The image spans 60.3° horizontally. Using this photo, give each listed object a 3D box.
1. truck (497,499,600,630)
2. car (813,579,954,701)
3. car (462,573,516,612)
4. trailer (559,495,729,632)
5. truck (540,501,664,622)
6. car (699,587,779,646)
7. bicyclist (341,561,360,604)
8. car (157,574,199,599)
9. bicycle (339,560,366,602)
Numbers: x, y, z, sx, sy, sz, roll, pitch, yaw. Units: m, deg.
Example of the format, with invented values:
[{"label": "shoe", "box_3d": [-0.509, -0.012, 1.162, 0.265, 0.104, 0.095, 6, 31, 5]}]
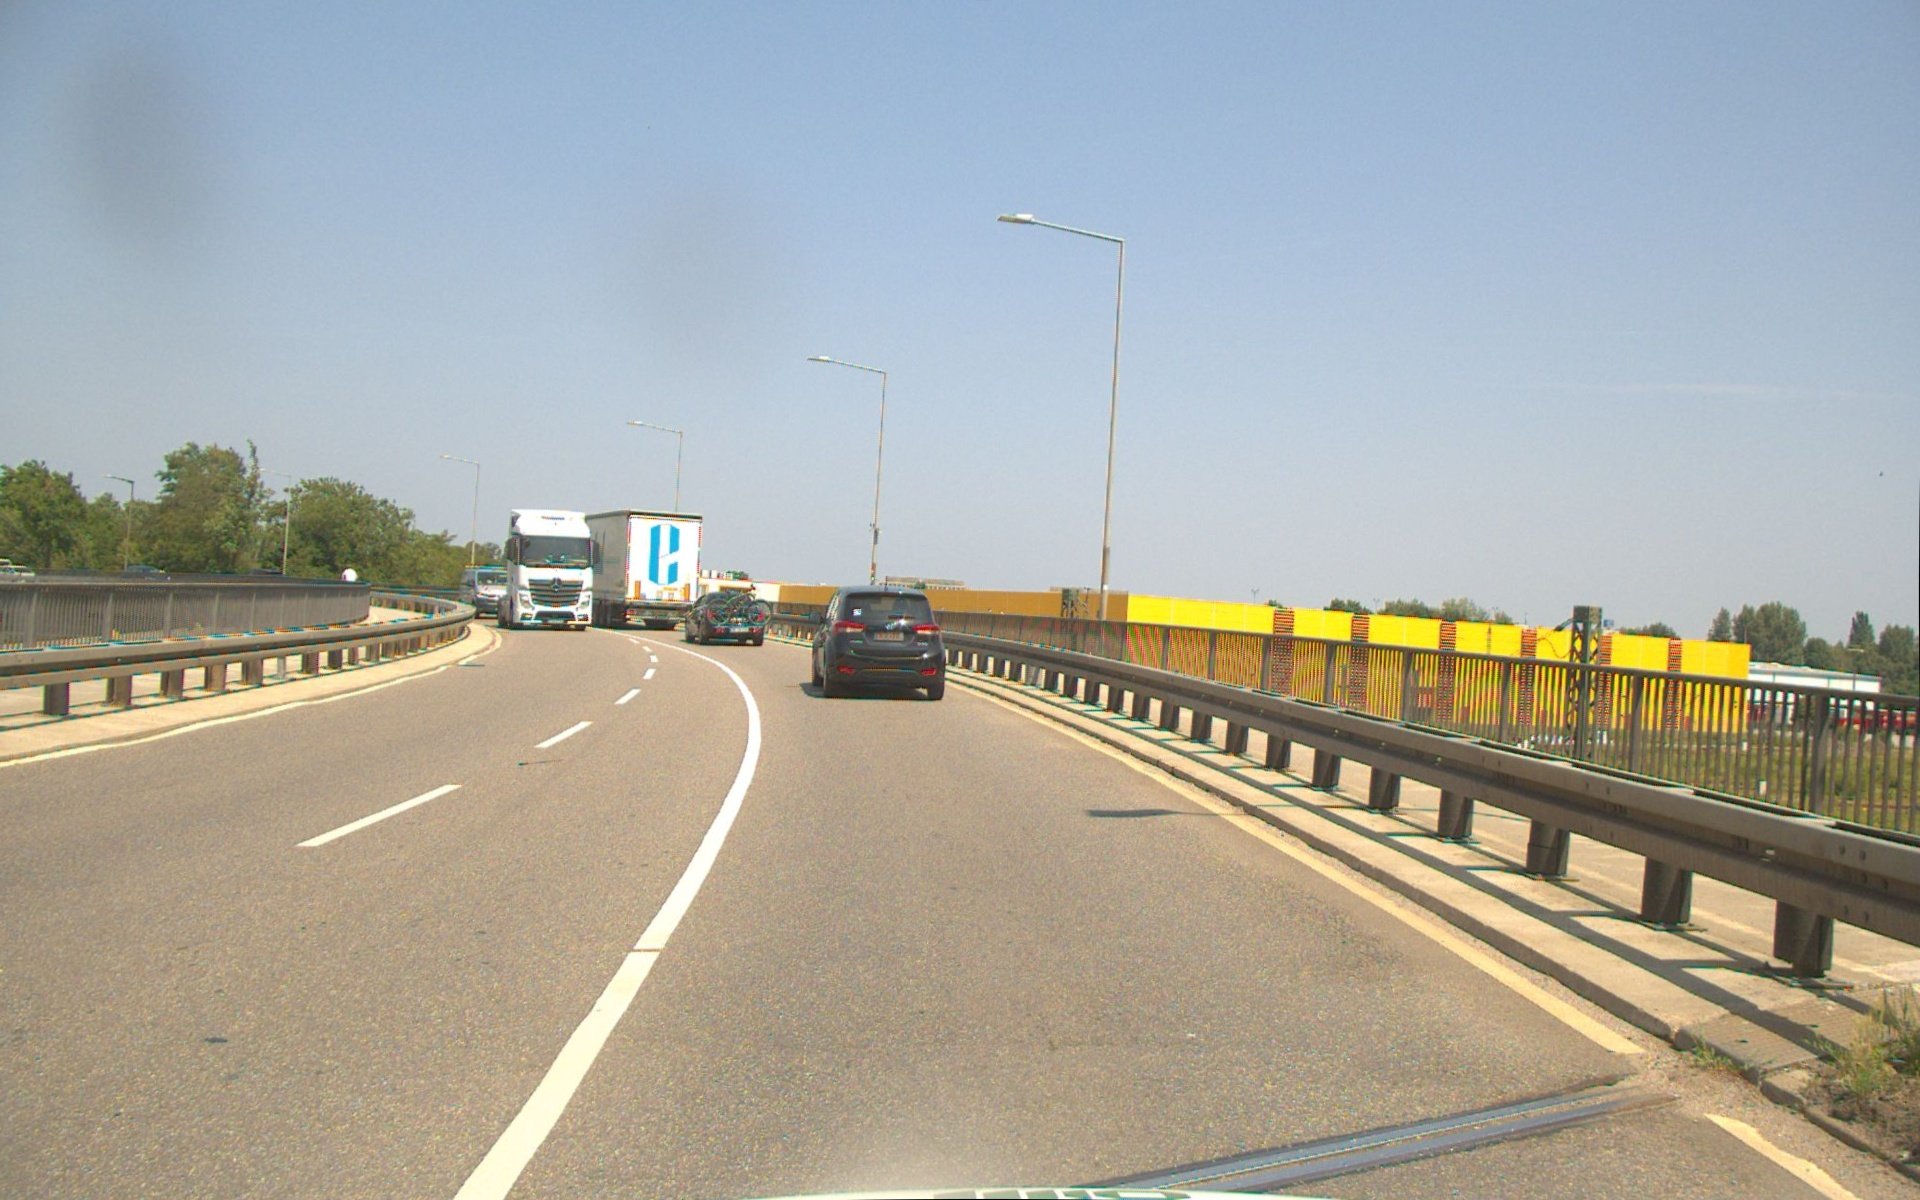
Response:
[{"label": "truck", "box_3d": [-13.872, -1.175, 55.479, 2.665, 4.061, 6.151, 2, 0, -19]}, {"label": "car", "box_3d": [-1.202, 0.535, 24.712, 1.884, 1.601, 3.888, 2, 0, -5]}, {"label": "car", "box_3d": [-18.786, -0.320, 65.894, 1.538, 1.410, 3.589, 2, 0, -24]}, {"label": "trailer", "box_3d": [-11.903, -1.333, 61.058, 3.523, 4.460, 11.355, 2, 0, -24]}, {"label": "truck", "box_3d": [-14.558, -1.544, 66.847, 3.526, 4.518, 6.467, 2, 0, -24]}, {"label": "car", "box_3d": [-5.983, 0.413, 45.134, 1.973, 1.454, 3.772, 2, 0, -6]}, {"label": "bicyclist", "box_3d": [-28.085, -0.807, 76.199, 0.618, 1.919, 0.704, 2, 0, -33]}, {"label": "car", "box_3d": [-56.939, -0.991, 120.437, 1.666, 1.668, 3.711, 2, 0, -43]}, {"label": "bicycle", "box_3d": [-27.832, -0.867, 75.733, 0.691, 1.833, 2.157, 2, 0, -32]}]
